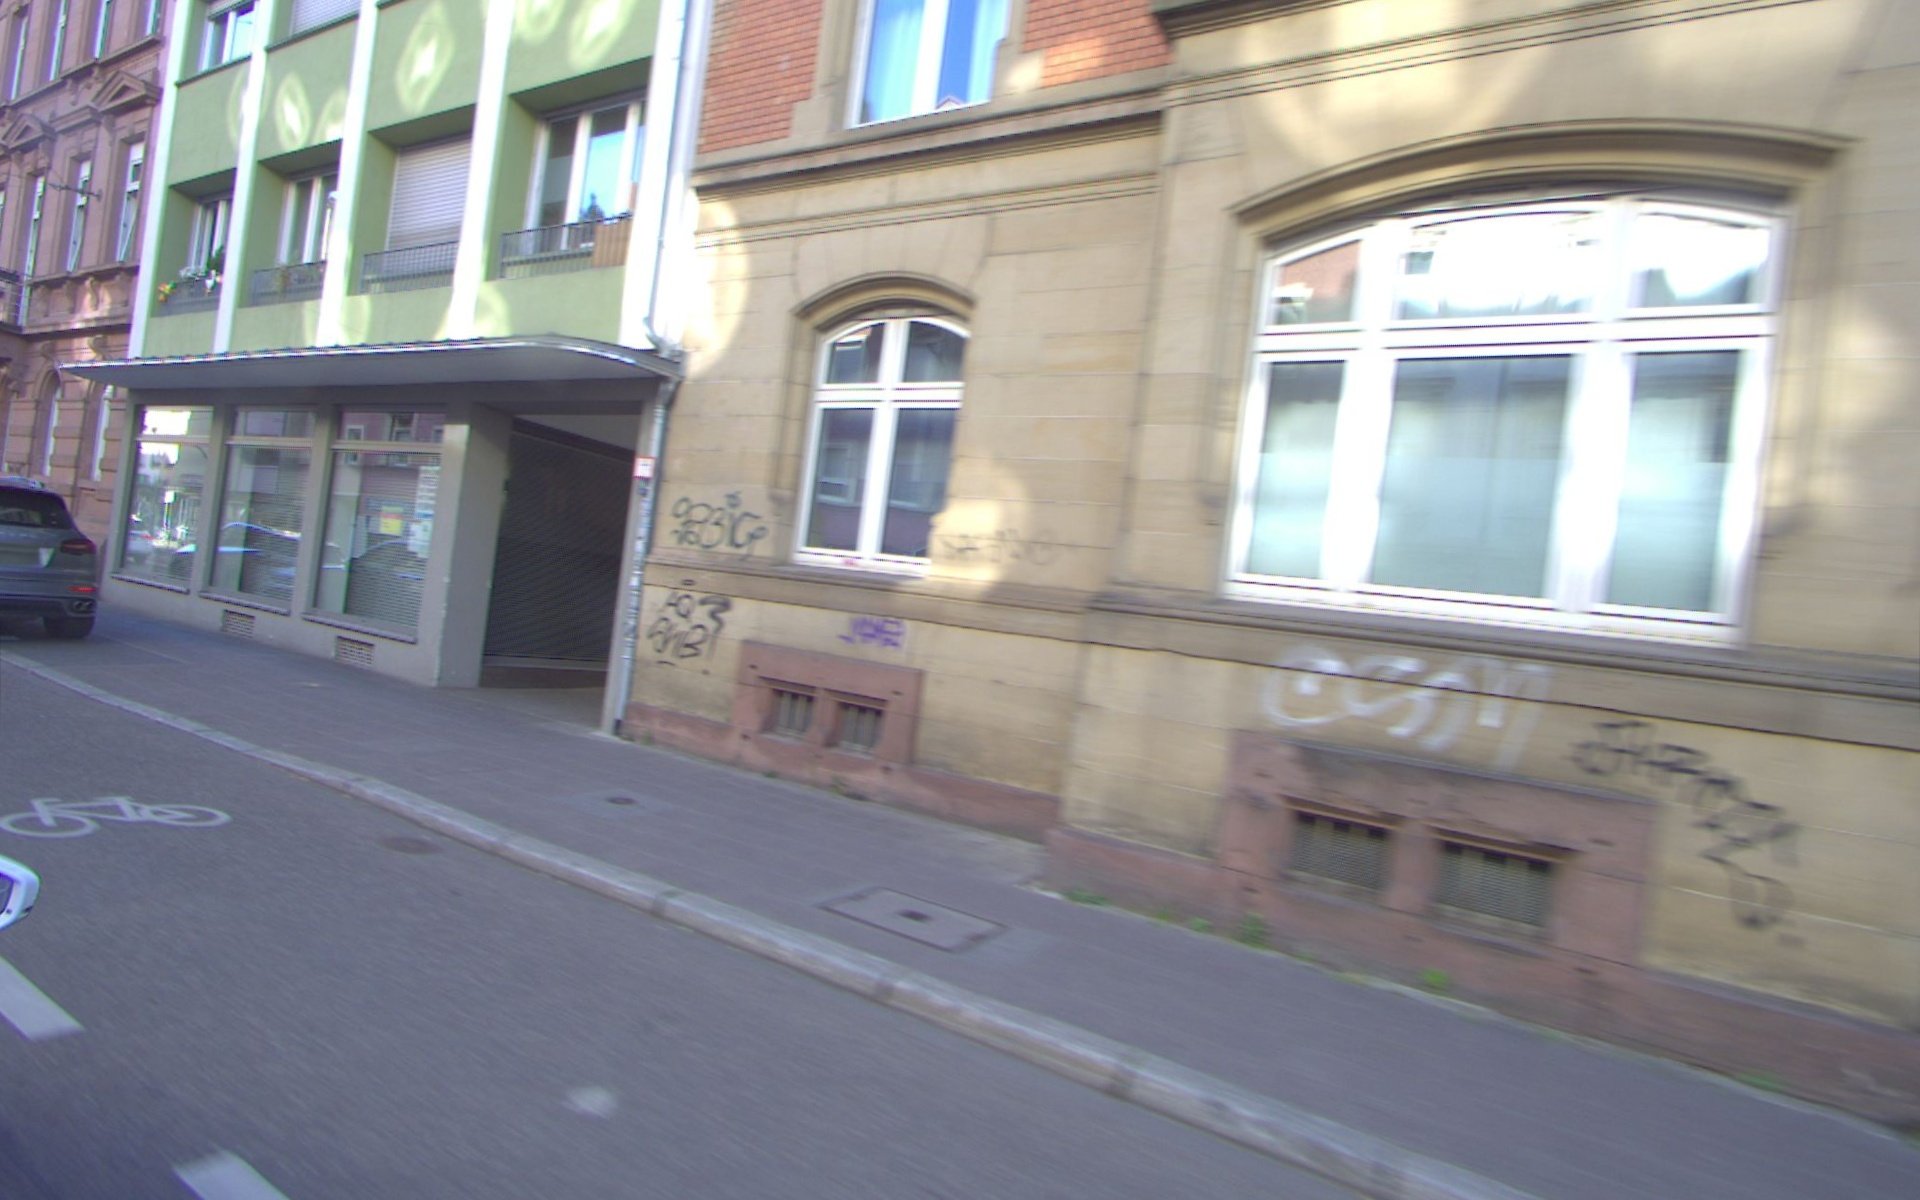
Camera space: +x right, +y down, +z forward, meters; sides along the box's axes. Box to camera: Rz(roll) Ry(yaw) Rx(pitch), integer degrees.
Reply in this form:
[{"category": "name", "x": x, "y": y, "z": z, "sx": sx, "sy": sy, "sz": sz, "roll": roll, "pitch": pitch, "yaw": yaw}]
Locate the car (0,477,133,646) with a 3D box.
[{"category": "car", "x": -11.333, "y": -0.584, "z": 11.049, "sx": 4.706, "sy": 1.636, "sz": 1.995, "roll": 6, "pitch": 1, "yaw": 31}]
